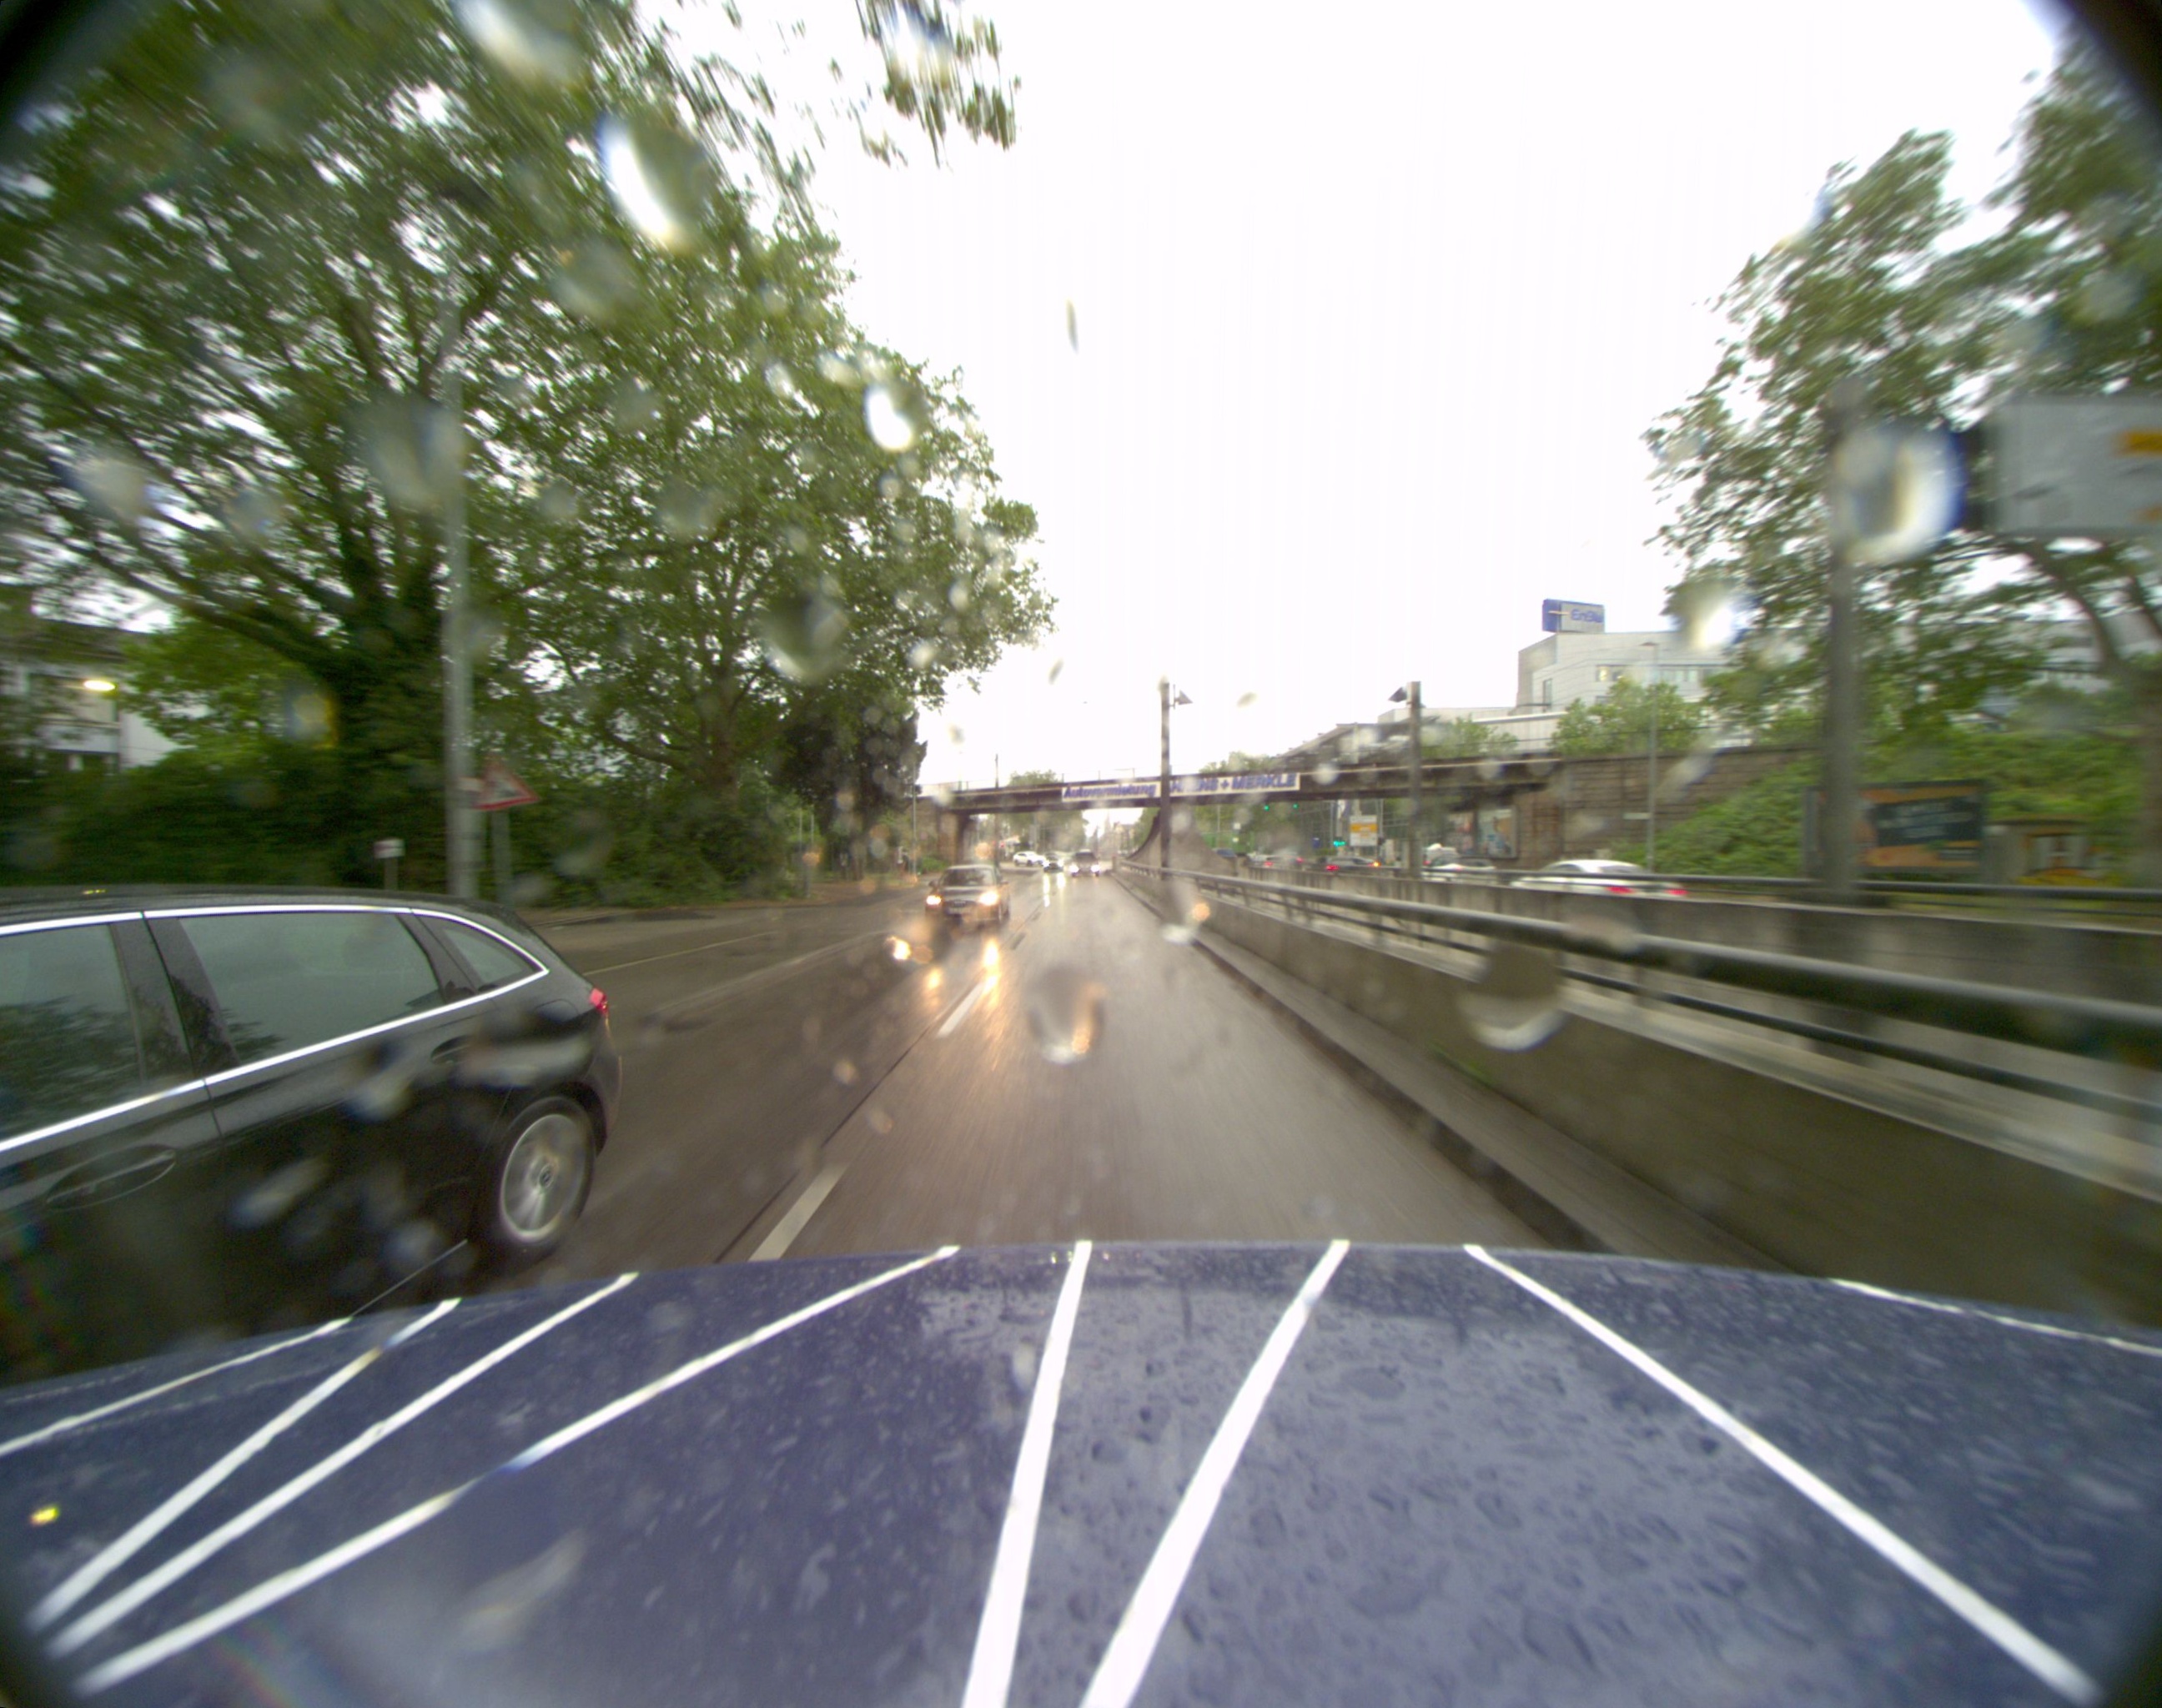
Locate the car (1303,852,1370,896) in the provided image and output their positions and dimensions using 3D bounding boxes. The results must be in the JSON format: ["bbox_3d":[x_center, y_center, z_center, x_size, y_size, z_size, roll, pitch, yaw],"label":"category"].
[{"bbox_3d":[12.729,0.931,38.148,1.998,2.002,4.000,-2,0,0],"label":"car"}]

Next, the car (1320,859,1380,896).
[{"bbox_3d":[16.146,1.380,45.814,1.998,2.002,4.510,-2,0,0],"label":"car"}]

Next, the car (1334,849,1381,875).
[{"bbox_3d":[20.819,0.566,57.484,1.998,1.780,4.196,-2,0,0],"label":"car"}]

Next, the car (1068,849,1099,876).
[{"bbox_3d":[0.231,0.590,53.488,1.974,1.794,4.159,-1,-1,3],"label":"car"}]

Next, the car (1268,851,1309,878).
[{"bbox_3d":[16.021,0.750,58.839,1.998,1.918,4.367,-2,0,0],"label":"car"}]

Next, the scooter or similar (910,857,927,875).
[{"bbox_3d":[-10.716,0.766,50.246,0.453,1.152,1.828,-2,0,8],"label":"scooter or similar"}]

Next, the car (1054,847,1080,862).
[{"bbox_3d":[-1.681,0.083,89.599,1.872,1.688,3.991,-1,0,-19],"label":"car"}]

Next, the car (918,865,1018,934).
[{"bbox_3d":[-2.629,1.016,18.502,1.641,1.377,3.782,-2,1,3],"label":"car"}]

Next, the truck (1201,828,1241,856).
[{"bbox_3d":[17.637,-1.429,96.286,3.384,3.290,6.521,-2,0,-4],"label":"truck"}]

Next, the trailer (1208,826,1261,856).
[{"bbox_3d":[18.038,-1.420,90.253,3.331,3.241,11.117,-2,0,-4],"label":"trailer"}]

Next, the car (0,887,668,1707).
[{"bbox_3d":[-2.915,1.022,1.479,1.821,1.521,4.419,-1,2,-1],"label":"car"}]

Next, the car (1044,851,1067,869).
[{"bbox_3d":[-2.276,0.540,67.883,1.821,1.520,4.159,-1,-1,1],"label":"car"}]

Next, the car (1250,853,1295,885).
[{"bbox_3d":[12.852,0.978,51.210,1.998,2.002,4.000,-2,0,0],"label":"car"}]

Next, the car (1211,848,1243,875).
[{"bbox_3d":[13.026,0.660,68.125,1.998,2.230,4.367,-2,0,0],"label":"car"}]

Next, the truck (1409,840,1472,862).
[{"bbox_3d":[35.446,-0.262,75.012,5.248,2.002,2.219,-2,1,35],"label":"truck"}]

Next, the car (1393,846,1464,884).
[{"bbox_3d":[19.428,0.576,42.699,1.998,2.002,4.196,-2,0,0],"label":"car"}]

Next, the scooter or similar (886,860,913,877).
[{"bbox_3d":[-11.561,0.916,48.389,0.452,1.004,1.742,-1,1,38],"label":"scooter or similar"}]

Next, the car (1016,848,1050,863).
[{"bbox_3d":[-5.606,0.208,89.122,1.874,1.688,4.413,0,-1,-37],"label":"car"}]

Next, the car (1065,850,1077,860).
[{"bbox_3d":[-1.675,0.168,126.925,1.821,1.520,4.157,-1,-1,-3],"label":"car"}]

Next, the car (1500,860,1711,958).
[{"bbox_3d":[12.605,1.211,18.724,1.998,2.002,4.615,-2,0,0],"label":"car"}]

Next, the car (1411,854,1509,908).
[{"bbox_3d":[15.564,1.047,31.455,1.998,2.002,4.000,-2,0,0],"label":"car"}]
